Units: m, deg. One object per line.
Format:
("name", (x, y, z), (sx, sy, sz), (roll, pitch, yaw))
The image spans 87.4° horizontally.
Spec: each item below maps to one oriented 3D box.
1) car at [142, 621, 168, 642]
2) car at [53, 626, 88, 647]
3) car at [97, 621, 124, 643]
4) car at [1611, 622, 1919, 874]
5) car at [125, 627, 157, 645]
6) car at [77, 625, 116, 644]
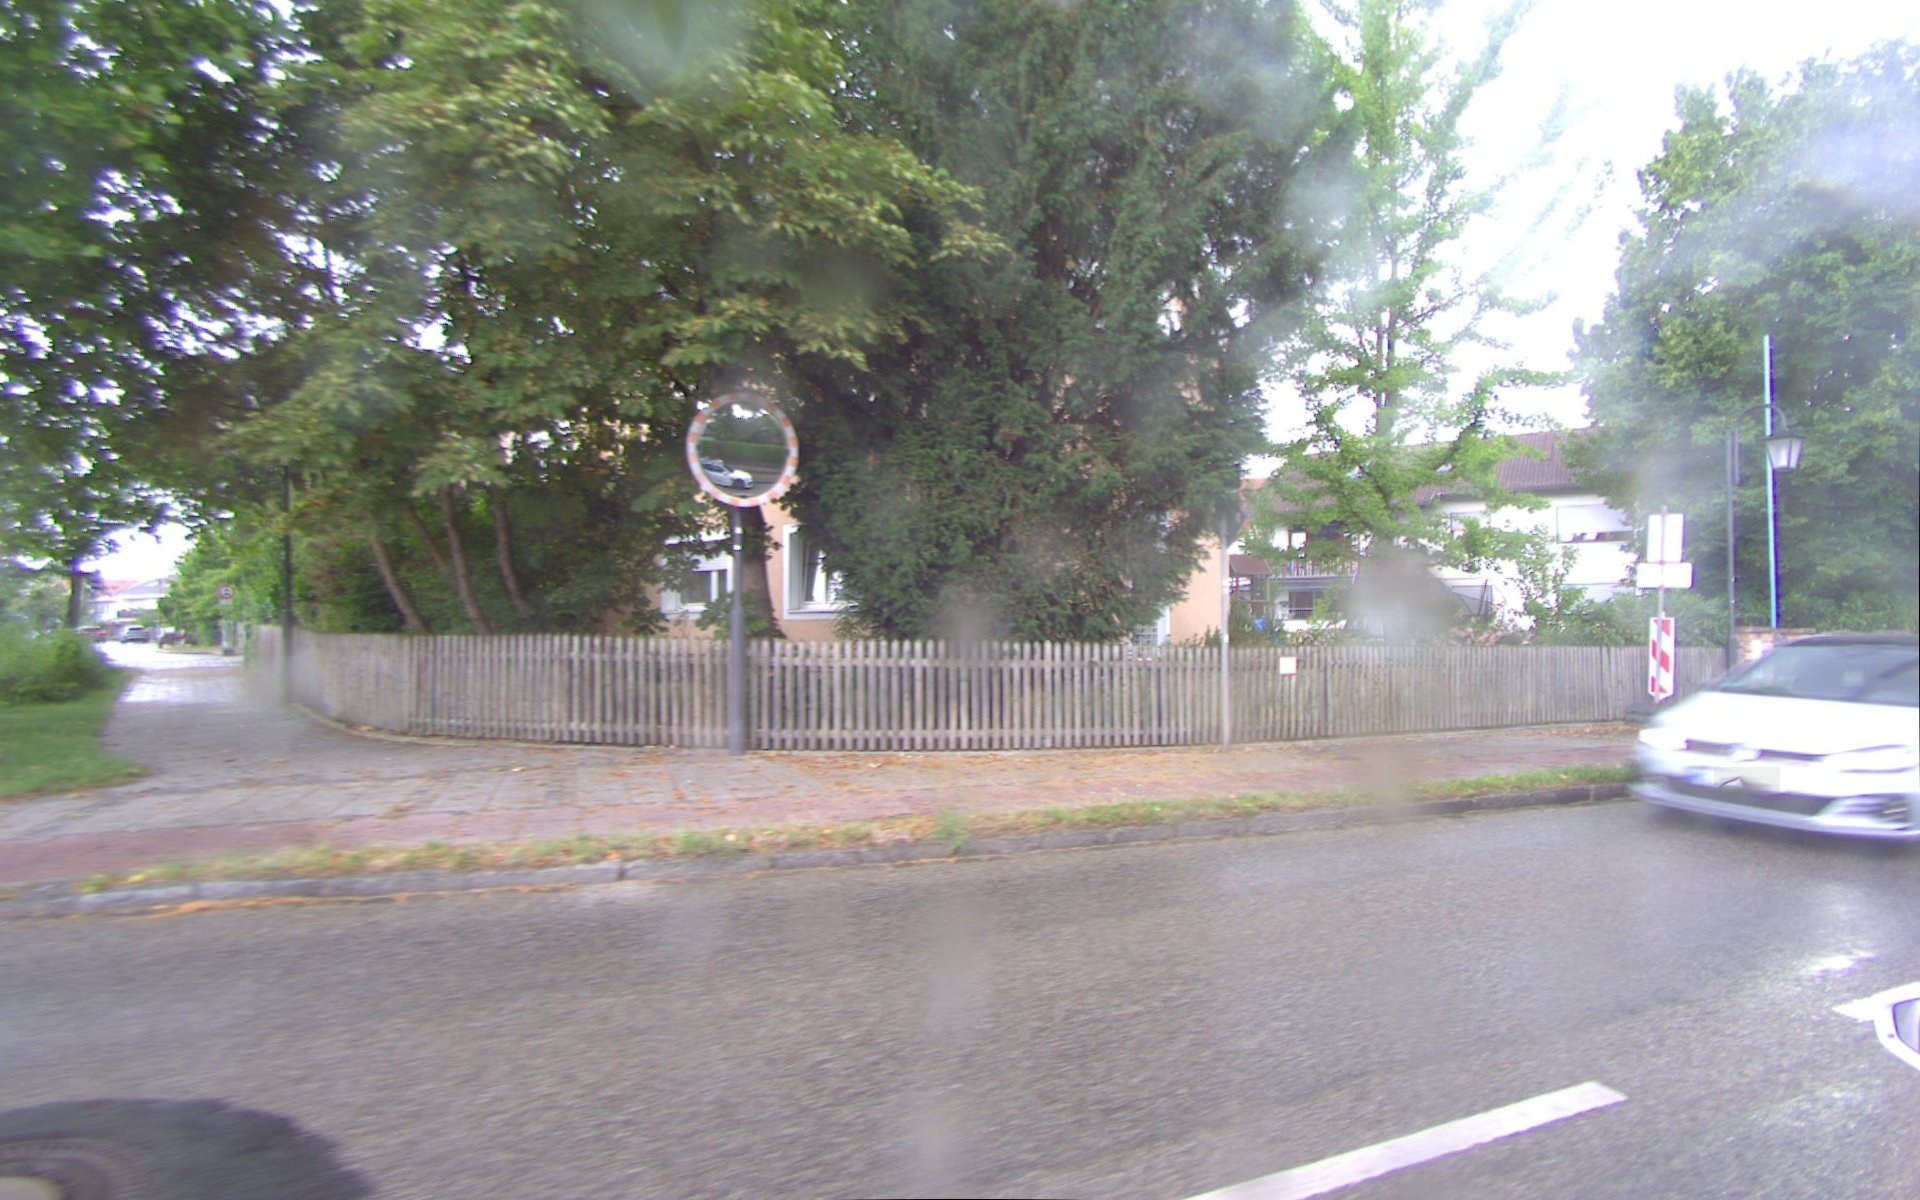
("car", (-85.868, 3.388, 107.117), (1.985, 2.040, 3.951), (2, 0, -42))
("car", (-71.627, 2.944, 80.844), (1.986, 1.461, 3.949), (2, 0, -43))
("car", (-87.871, 3.274, 103.850), (1.985, 2.040, 3.951), (2, 0, -42))
("car", (7.037, 0.972, 7.726), (3.950, 1.461, 1.709), (2, 0, -28))
("car", (-73.759, 3.223, 90.481), (1.986, 1.461, 3.949), (2, 0, -43))
("car", (-74.651, 2.984, 86.822), (3.942, 1.461, 1.990), (2, 0, 42))
